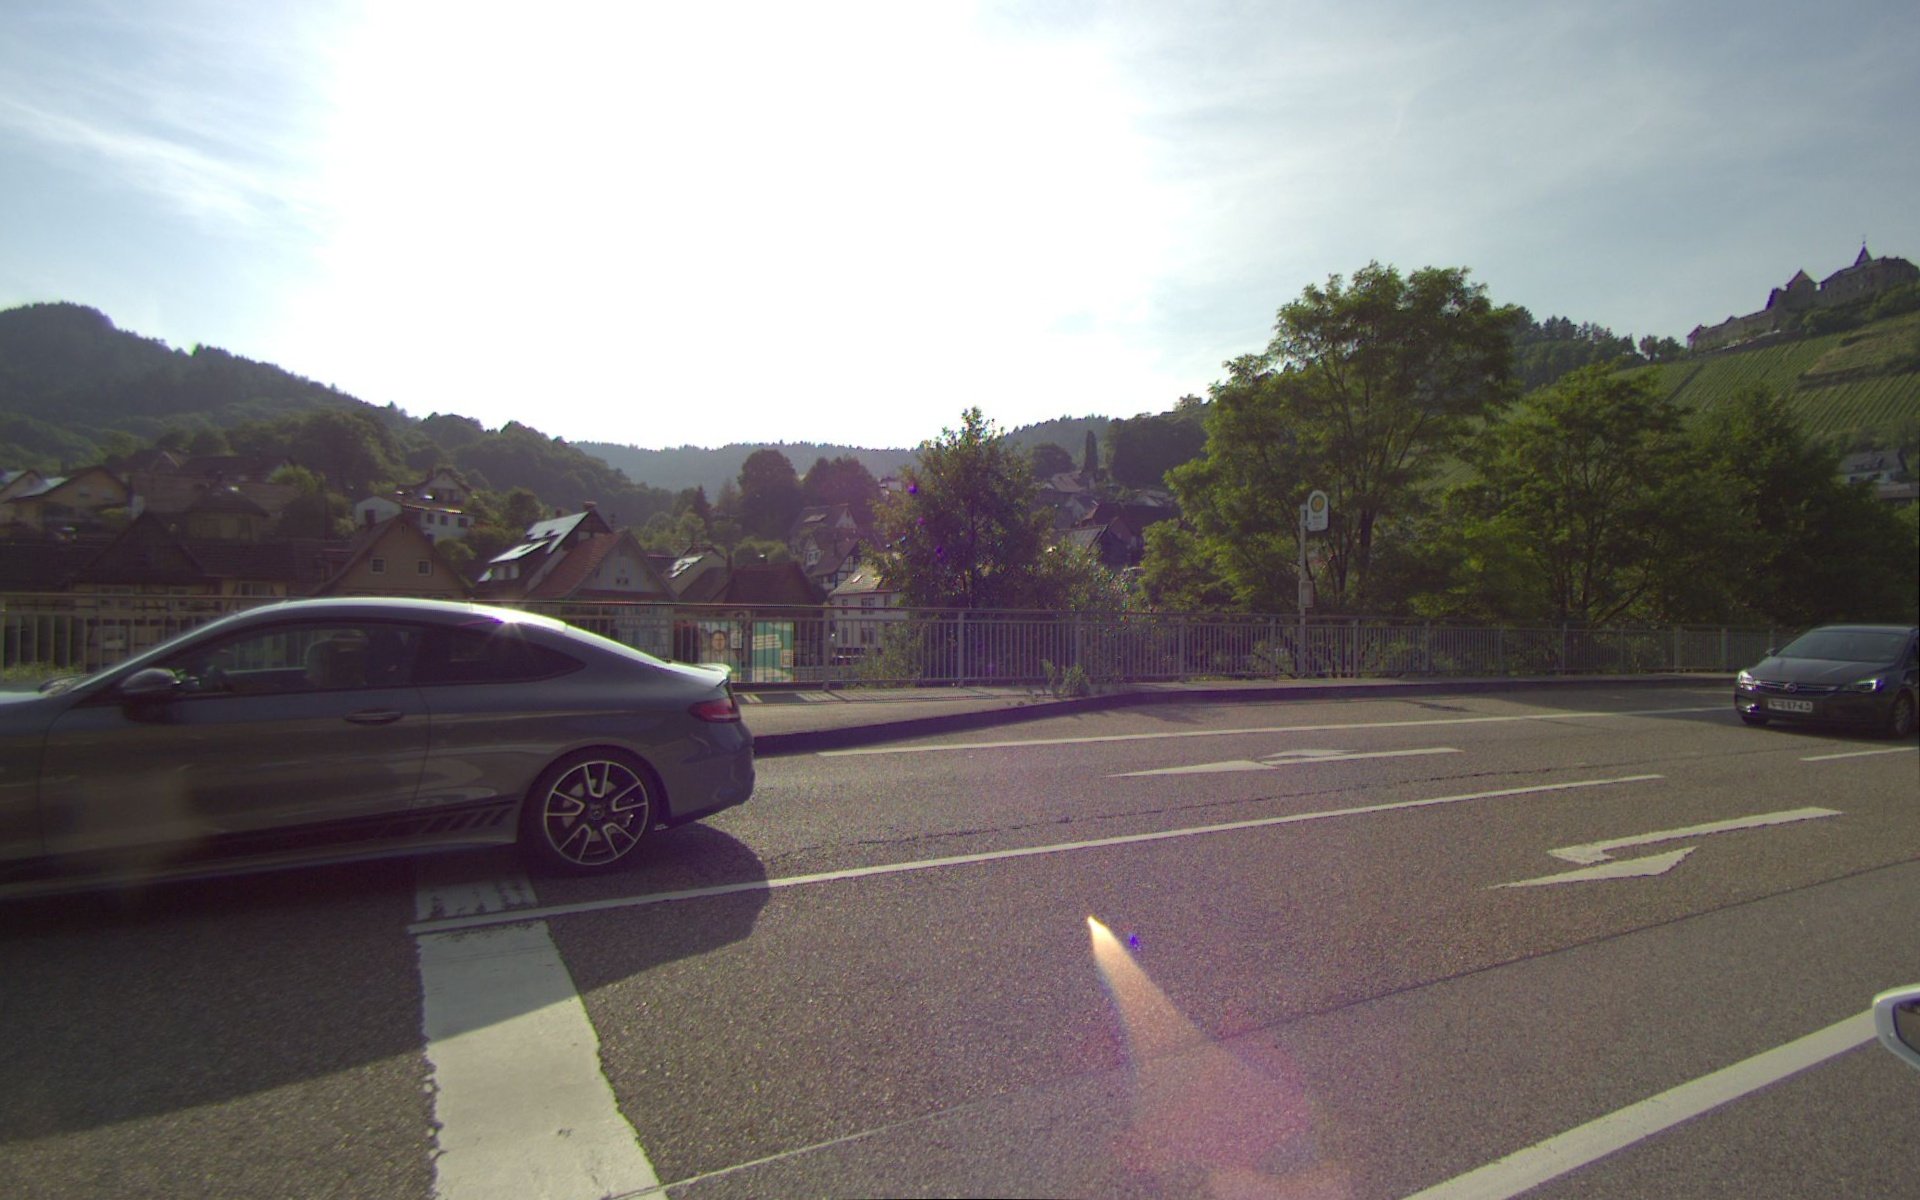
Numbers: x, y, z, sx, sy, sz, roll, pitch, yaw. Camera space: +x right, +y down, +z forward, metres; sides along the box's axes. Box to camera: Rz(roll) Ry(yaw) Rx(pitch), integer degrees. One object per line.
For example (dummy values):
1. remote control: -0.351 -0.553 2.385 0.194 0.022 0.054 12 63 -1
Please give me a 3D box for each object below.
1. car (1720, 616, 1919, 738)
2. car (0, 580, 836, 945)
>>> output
1. car: 13.115 1.027 14.469 4.698 1.498 1.777 1 -1 -30
2. car: -3.129 0.650 5.304 4.592 1.396 1.761 1 1 -32
